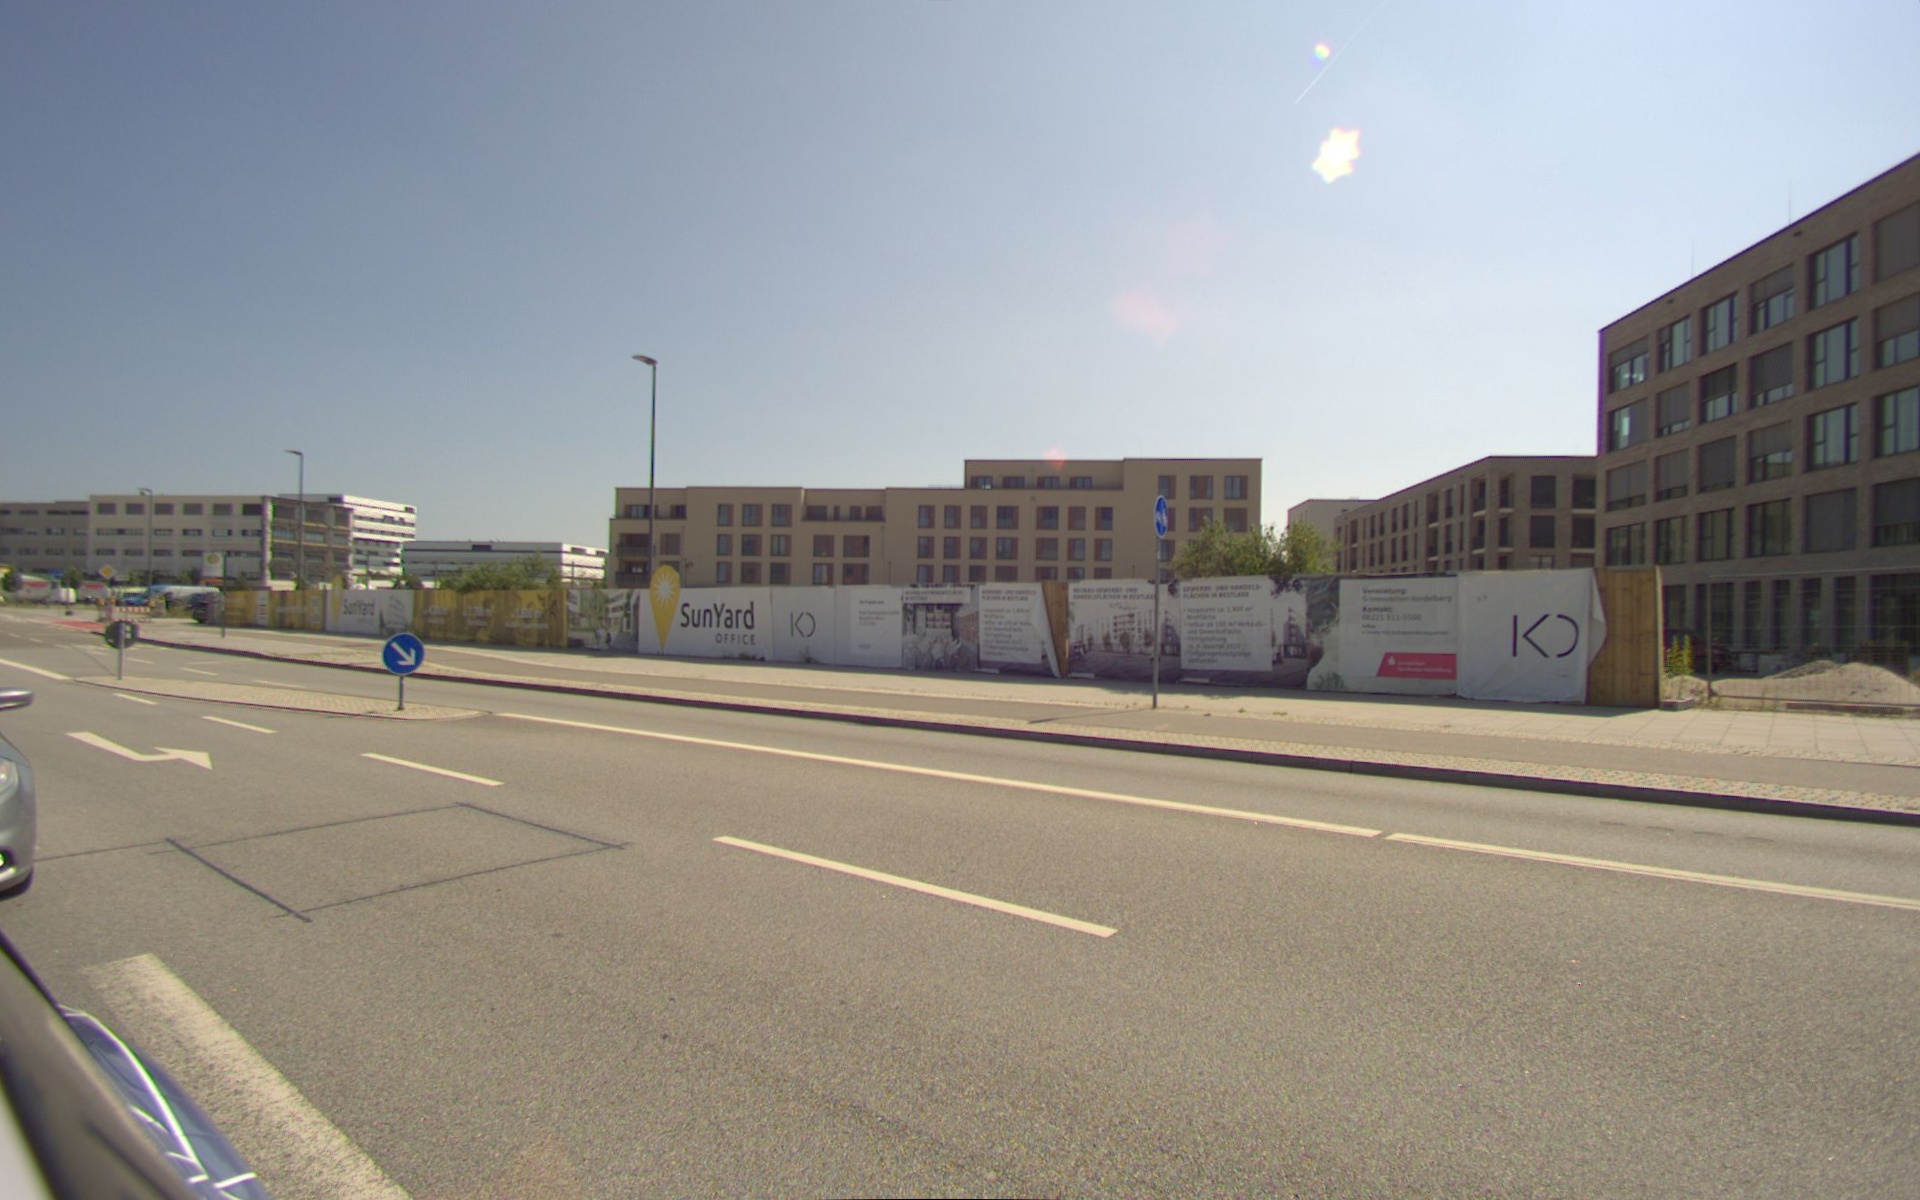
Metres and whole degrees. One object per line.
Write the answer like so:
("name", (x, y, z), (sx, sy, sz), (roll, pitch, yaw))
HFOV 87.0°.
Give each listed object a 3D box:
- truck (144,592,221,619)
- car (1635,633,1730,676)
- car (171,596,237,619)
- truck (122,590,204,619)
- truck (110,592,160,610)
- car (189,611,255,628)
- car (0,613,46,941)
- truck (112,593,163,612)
("truck", (-67.054, 0.428, 87.291), (1.998, 2.245, 4.942), (0, 1, 39))
("car", (32.025, 2.401, 44.985), (1.814, 1.666, 3.772), (0, 0, 7))
("car", (-60.320, 0.608, 80.809), (1.888, 1.731, 3.885), (0, 1, 35))
("truck", (-72.585, 0.393, 92.284), (1.996, 2.494, 5.567), (0, 1, 36))
("truck", (-120.220, 0.096, 147.572), (1.998, 2.494, 5.346), (0, 1, 38))
("car", (-48.339, 1.258, 66.319), (1.293, 0.960, 3.315), (0, 1, 43))
("car", (-6.456, 0.815, 5.454), (4.345, 1.478, 1.796), (-1, -1, 41))
("truck", (-114.892, 0.305, 141.403), (1.996, 2.494, 5.270), (0, 1, 36))
